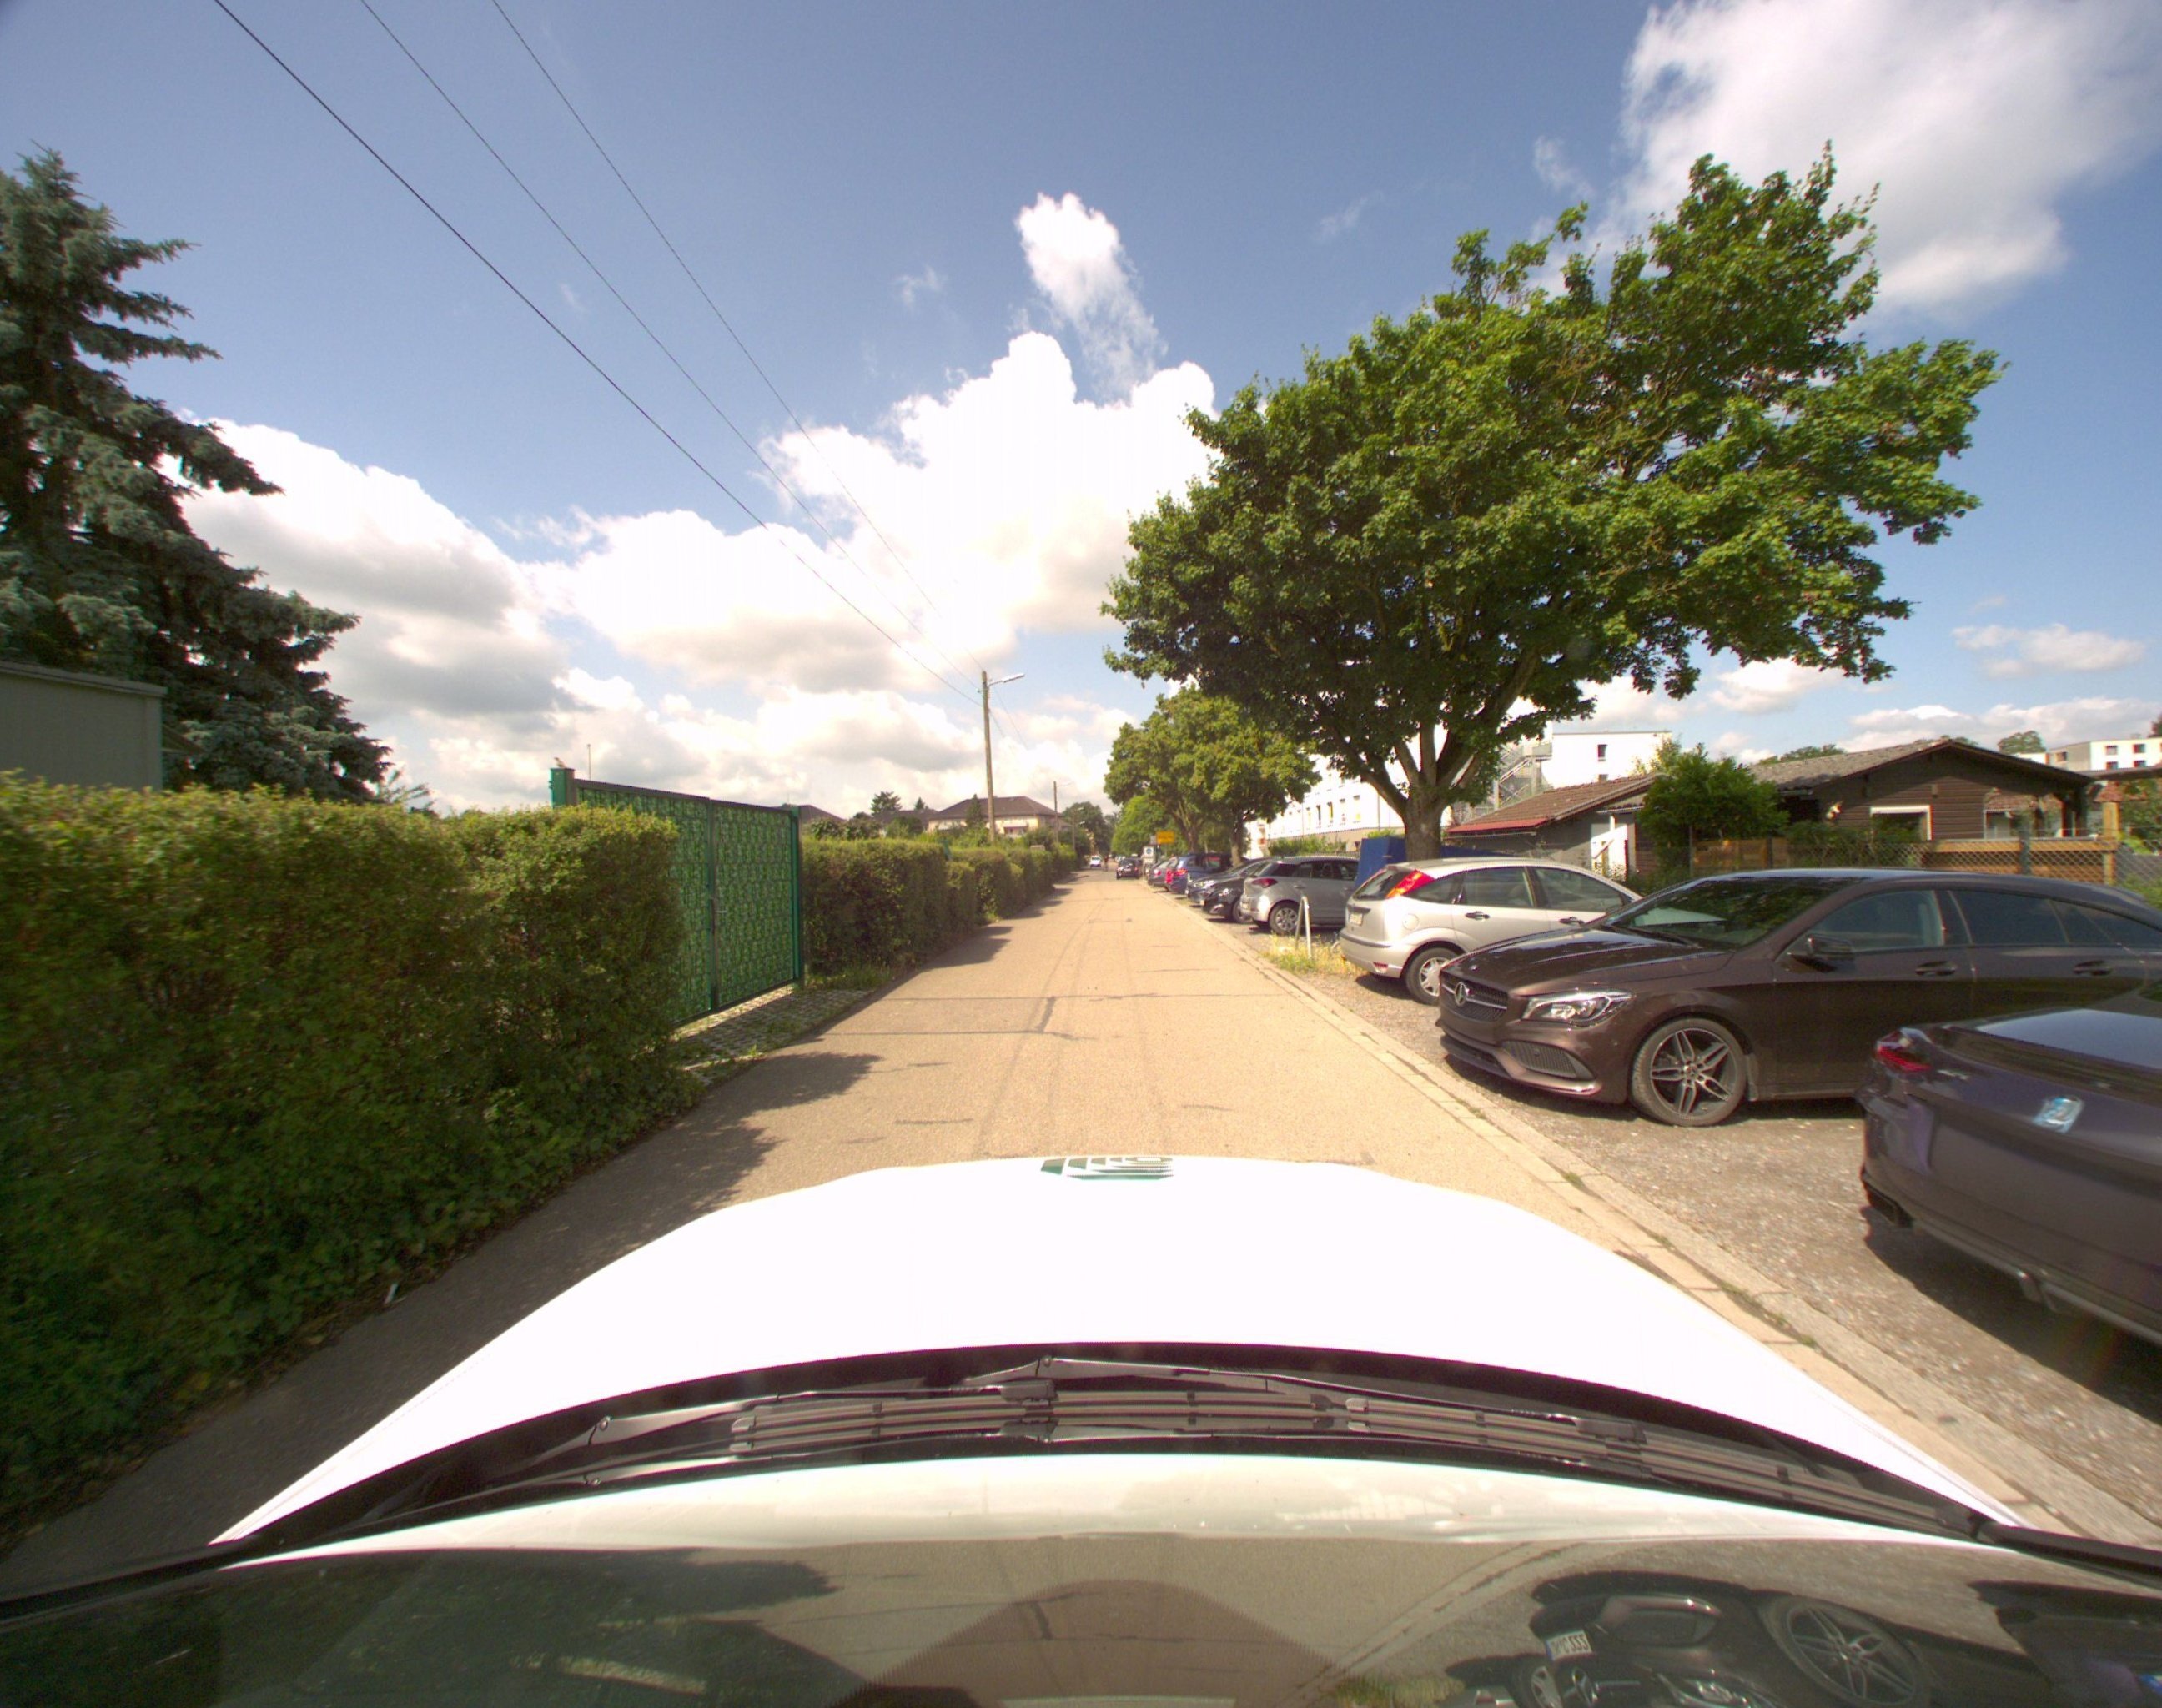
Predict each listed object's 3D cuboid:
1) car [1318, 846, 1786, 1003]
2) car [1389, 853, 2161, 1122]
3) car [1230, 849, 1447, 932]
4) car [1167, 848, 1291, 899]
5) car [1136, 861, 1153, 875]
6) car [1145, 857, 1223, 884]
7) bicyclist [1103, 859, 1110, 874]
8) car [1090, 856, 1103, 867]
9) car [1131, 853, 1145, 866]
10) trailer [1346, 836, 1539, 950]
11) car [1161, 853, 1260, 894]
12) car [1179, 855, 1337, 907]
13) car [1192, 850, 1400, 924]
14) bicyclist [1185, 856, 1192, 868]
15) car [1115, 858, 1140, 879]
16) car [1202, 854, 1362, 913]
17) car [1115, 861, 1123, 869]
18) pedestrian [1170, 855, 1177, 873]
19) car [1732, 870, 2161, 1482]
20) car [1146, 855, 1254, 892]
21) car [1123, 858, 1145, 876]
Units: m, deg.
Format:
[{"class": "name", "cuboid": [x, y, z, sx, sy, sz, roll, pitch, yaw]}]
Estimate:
[{"class": "car", "cuboid": [4.873, 0.692, 8.986, 4.046, 1.511, 1.960, 0, -1, 4]}, {"class": "car", "cuboid": [4.409, 0.734, 5.386, 4.053, 1.455, 1.869, 0, -1, -1]}, {"class": "car", "cuboid": [4.969, 0.696, 16.070, 3.713, 1.540, 1.848, 0, -1, -2]}, {"class": "car", "cuboid": [5.223, 0.692, 29.234, 4.138, 1.637, 1.880, -2, -1, 2]}, {"class": "car", "cuboid": [6.430, 1.429, 82.557, 1.656, 1.435, 3.544, 0, -1, 3]}, {"class": "car", "cuboid": [5.895, 0.924, 46.908, 4.337, 1.392, 1.721, -2, -1, 5]}, {"class": "bicyclist", "cuboid": [3.055, 1.490, 97.062, 0.656, 1.852, 1.044, -3, -1, 4]}, {"class": "car", "cuboid": [2.497, 1.179, 129.275, 1.894, 1.814, 4.004, 0, -1, 4]}, {"class": "car", "cuboid": [8.909, 0.898, 127.147, 2.049, 1.926, 4.546, 0, -1, 4]}, {"class": "trailer", "cuboid": [5.757, 0.592, 13.167, 2.444, 1.720, 1.517, 0, 0, -2]}, {"class": "car", "cuboid": [5.260, 0.808, 33.488, 3.795, 1.532, 1.762, -2, -1, 1]}, {"class": "car", "cuboid": [5.159, 0.781, 24.222, 4.320, 1.492, 1.976, 0, -1, 0]}, {"class": "car", "cuboid": [4.794, 0.728, 18.657, 4.287, 1.594, 2.000, 0, -1, 1]}, {"class": "bicyclist", "cuboid": [15.374, 1.150, 116.497, 0.777, 1.785, 0.900, 0, -1, 34]}, {"class": "car", "cuboid": [3.519, 1.040, 60.778, 1.655, 1.506, 4.007, 0, -1, 6]}, {"class": "car", "cuboid": [5.219, 0.760, 21.569, 3.799, 1.492, 1.903, 0, -1, 1]}, {"class": "car", "cuboid": [9.769, 2.898, 208.538, 1.986, 2.014, 4.001, 0, -1, 1]}, {"class": "pedestrian", "cuboid": [8.929, 0.965, 78.649, 0.606, 1.745, 0.725, 0, -1, 15]}, {"class": "car", "cuboid": [4.520, 0.773, 2.214, 3.892, 1.424, 1.960, 0, -1, 4]}, {"class": "car", "cuboid": [5.185, 0.845, 35.900, 4.534, 1.578, 1.808, 0, -1, 0]}, {"class": "car", "cuboid": [4.757, 1.115, 72.553, 1.653, 1.552, 3.646, 0, -1, 9]}]
